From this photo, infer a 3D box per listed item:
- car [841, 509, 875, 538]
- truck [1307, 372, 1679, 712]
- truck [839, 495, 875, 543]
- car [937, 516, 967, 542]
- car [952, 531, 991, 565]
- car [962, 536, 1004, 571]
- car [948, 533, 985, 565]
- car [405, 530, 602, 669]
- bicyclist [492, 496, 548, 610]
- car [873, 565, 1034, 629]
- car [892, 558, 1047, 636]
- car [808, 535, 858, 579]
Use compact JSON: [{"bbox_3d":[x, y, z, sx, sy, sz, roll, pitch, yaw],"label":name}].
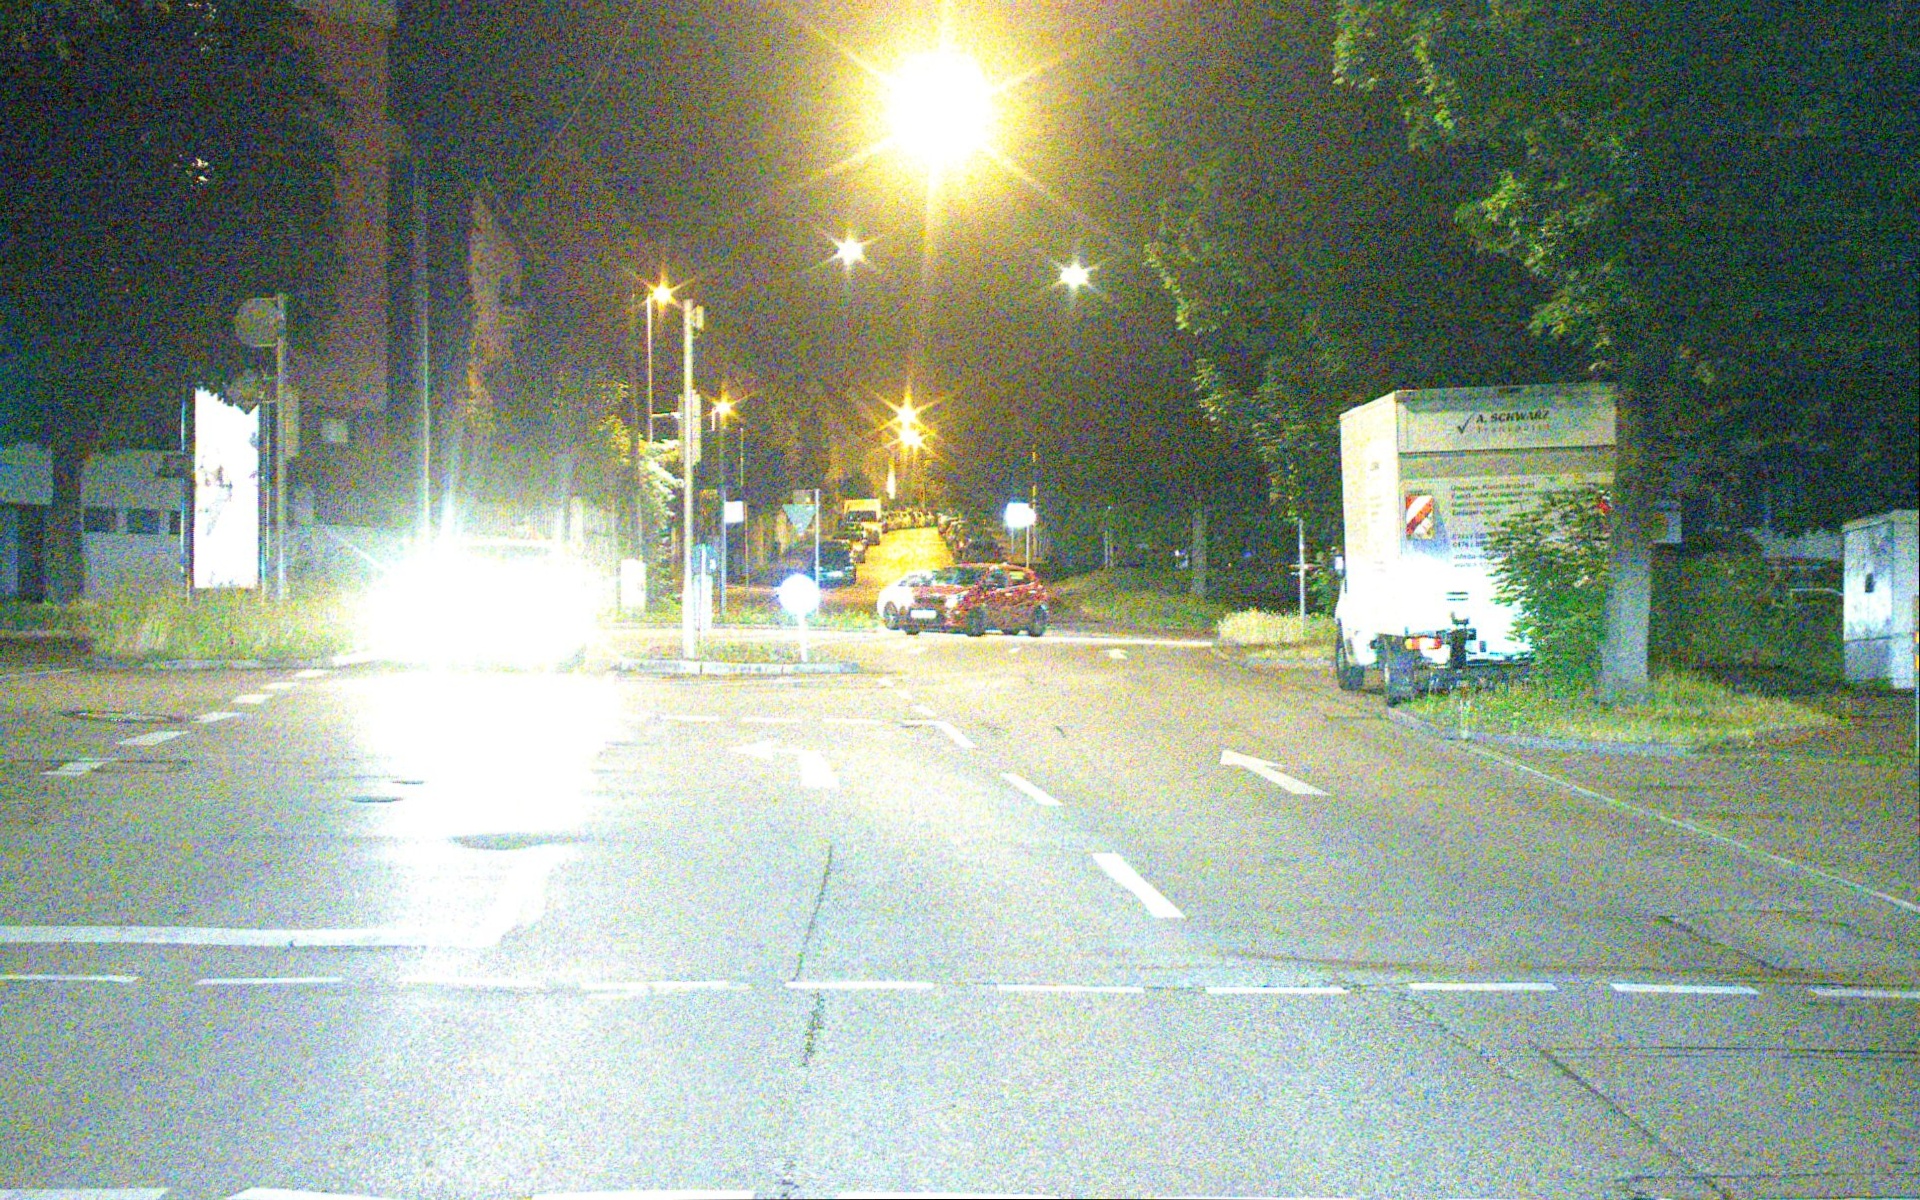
[{"bbox_3d":[-5.582,-4.165,187.409,1.815,1.486,4.001,1,1,-2],"label":"car"},{"bbox_3d":[5.248,-0.593,34.961,2.749,3.100,6.258,1,1,0],"label":"truck"},{"bbox_3d":[-6.326,-4.947,210.029,2.086,2.838,5.832,1,1,-2],"label":"truck"},{"bbox_3d":[-0.469,-3.962,191.932,1.634,1.447,3.485,1,1,-1],"label":"car"},{"bbox_3d":[0.506,-2.330,153.551,1.634,1.447,3.485,1,1,-1],"label":"car"},{"bbox_3d":[0.950,-1.954,143.819,1.634,1.447,3.485,1,1,-1],"label":"car"},{"bbox_3d":[0.293,-2.394,159.735,1.634,1.447,3.485,1,1,-1],"label":"car"},{"bbox_3d":[-5.307,-0.039,40.396,1.857,1.529,4.028,1,1,-1],"label":"car"},{"bbox_3d":[-6.406,-0.682,50.104,0.690,1.631,0.896,1,0,-1],"label":"bicyclist"},{"bbox_3d":[-0.190,-0.081,81.048,1.916,1.384,4.583,0,1,-27],"label":"car"},{"bbox_3d":[0.214,-0.087,69.032,1.584,1.496,3.390,1,1,31],"label":"car"},{"bbox_3d":[-4.970,-1.686,134.896,1.815,1.678,4.000,1,1,-1],"label":"car"}]
